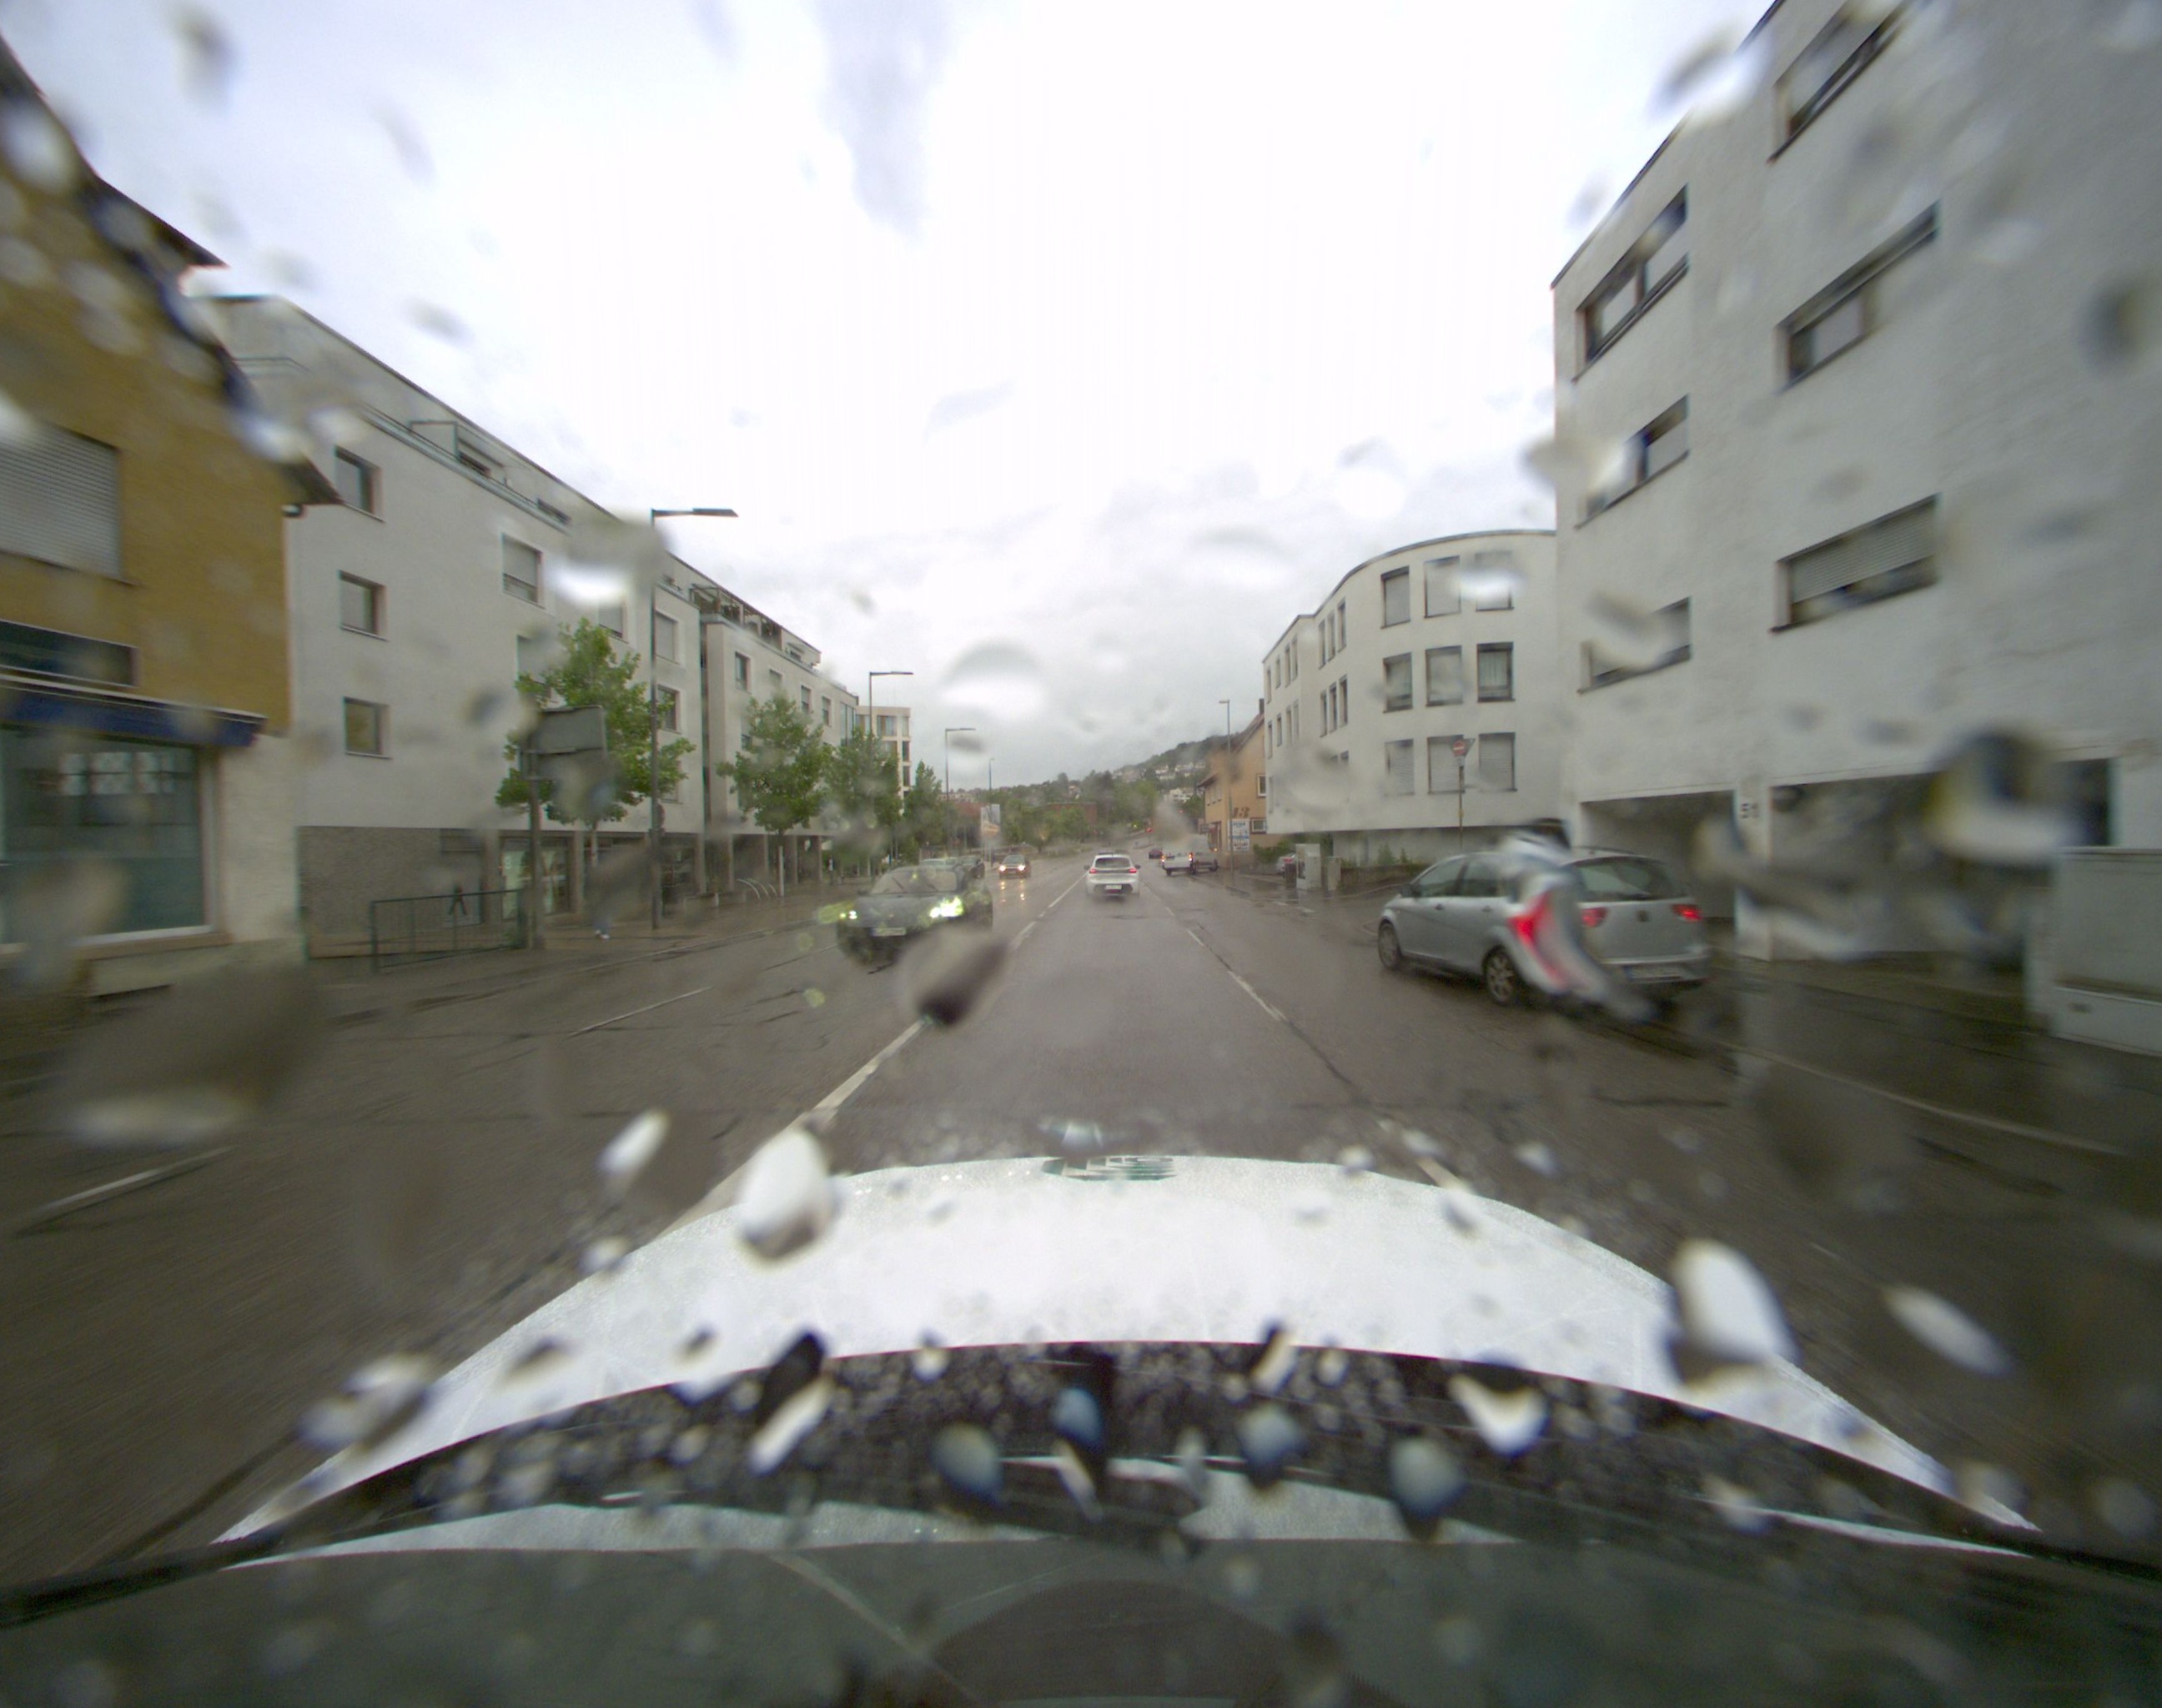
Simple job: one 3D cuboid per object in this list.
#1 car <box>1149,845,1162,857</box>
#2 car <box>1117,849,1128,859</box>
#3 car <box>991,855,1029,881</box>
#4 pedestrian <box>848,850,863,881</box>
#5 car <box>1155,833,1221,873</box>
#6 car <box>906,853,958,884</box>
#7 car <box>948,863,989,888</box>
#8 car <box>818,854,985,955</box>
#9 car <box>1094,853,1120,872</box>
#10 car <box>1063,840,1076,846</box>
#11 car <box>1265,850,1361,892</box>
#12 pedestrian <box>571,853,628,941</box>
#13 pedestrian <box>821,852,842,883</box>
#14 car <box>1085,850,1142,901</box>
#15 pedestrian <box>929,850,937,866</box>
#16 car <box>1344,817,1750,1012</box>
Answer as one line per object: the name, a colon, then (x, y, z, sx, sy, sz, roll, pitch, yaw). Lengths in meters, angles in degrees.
car: (10.126, -0.370, 111.001, 1.726, 1.387, 3.357, 0, 4, 4)
car: (5.068, 0.053, 100.499, 1.209, 1.156, 2.269, -2, -1, 0)
car: (-4.553, 0.909, 52.729, 1.873, 1.524, 4.185, -2, -1, 2)
pedestrian: (-15.737, 0.832, 56.840, 0.742, 2.145, 0.773, -1, -1, 10)
car: (7.075, -0.030, 53.019, 2.270, 2.382, 6.663, -3, -1, 25)
car: (-7.671, 0.756, 42.350, 1.789, 1.463, 4.478, -1, -1, 0)
car: (-7.423, 1.424, 54.157, 1.683, 1.510, 4.583, -2, -1, 5)
car: (-2.902, 0.787, 14.201, 1.761, 1.413, 4.527, -2, -1, 1)
car: (1.956, 0.634, 60.473, 1.733, 1.295, 3.337, -2, 0, 4)
car: (-2.481, -2.341, 178.039, 2.430, 1.157, 1.360, -2, -1, -25)
car: (10.511, 0.741, 37.048, 3.778, 1.530, 1.820, 5, 1, 1)
pedestrian: (-10.235, 0.890, 17.339, 0.802, 1.788, 0.877, -2, -1, -17)
pedestrian: (-14.321, 0.780, 46.717, 0.806, 1.738, 1.003, -2, -1, 1)
car: (1.004, 0.704, 27.032, 1.685, 1.519, 3.931, -2, -2, 0)
pedestrian: (-15.968, 0.409, 87.964, 0.783, 1.745, 0.671, -2, -1, -12)
car: (4.663, 0.586, 9.102, 2.005, 1.622, 4.359, -1, -2, 0)
